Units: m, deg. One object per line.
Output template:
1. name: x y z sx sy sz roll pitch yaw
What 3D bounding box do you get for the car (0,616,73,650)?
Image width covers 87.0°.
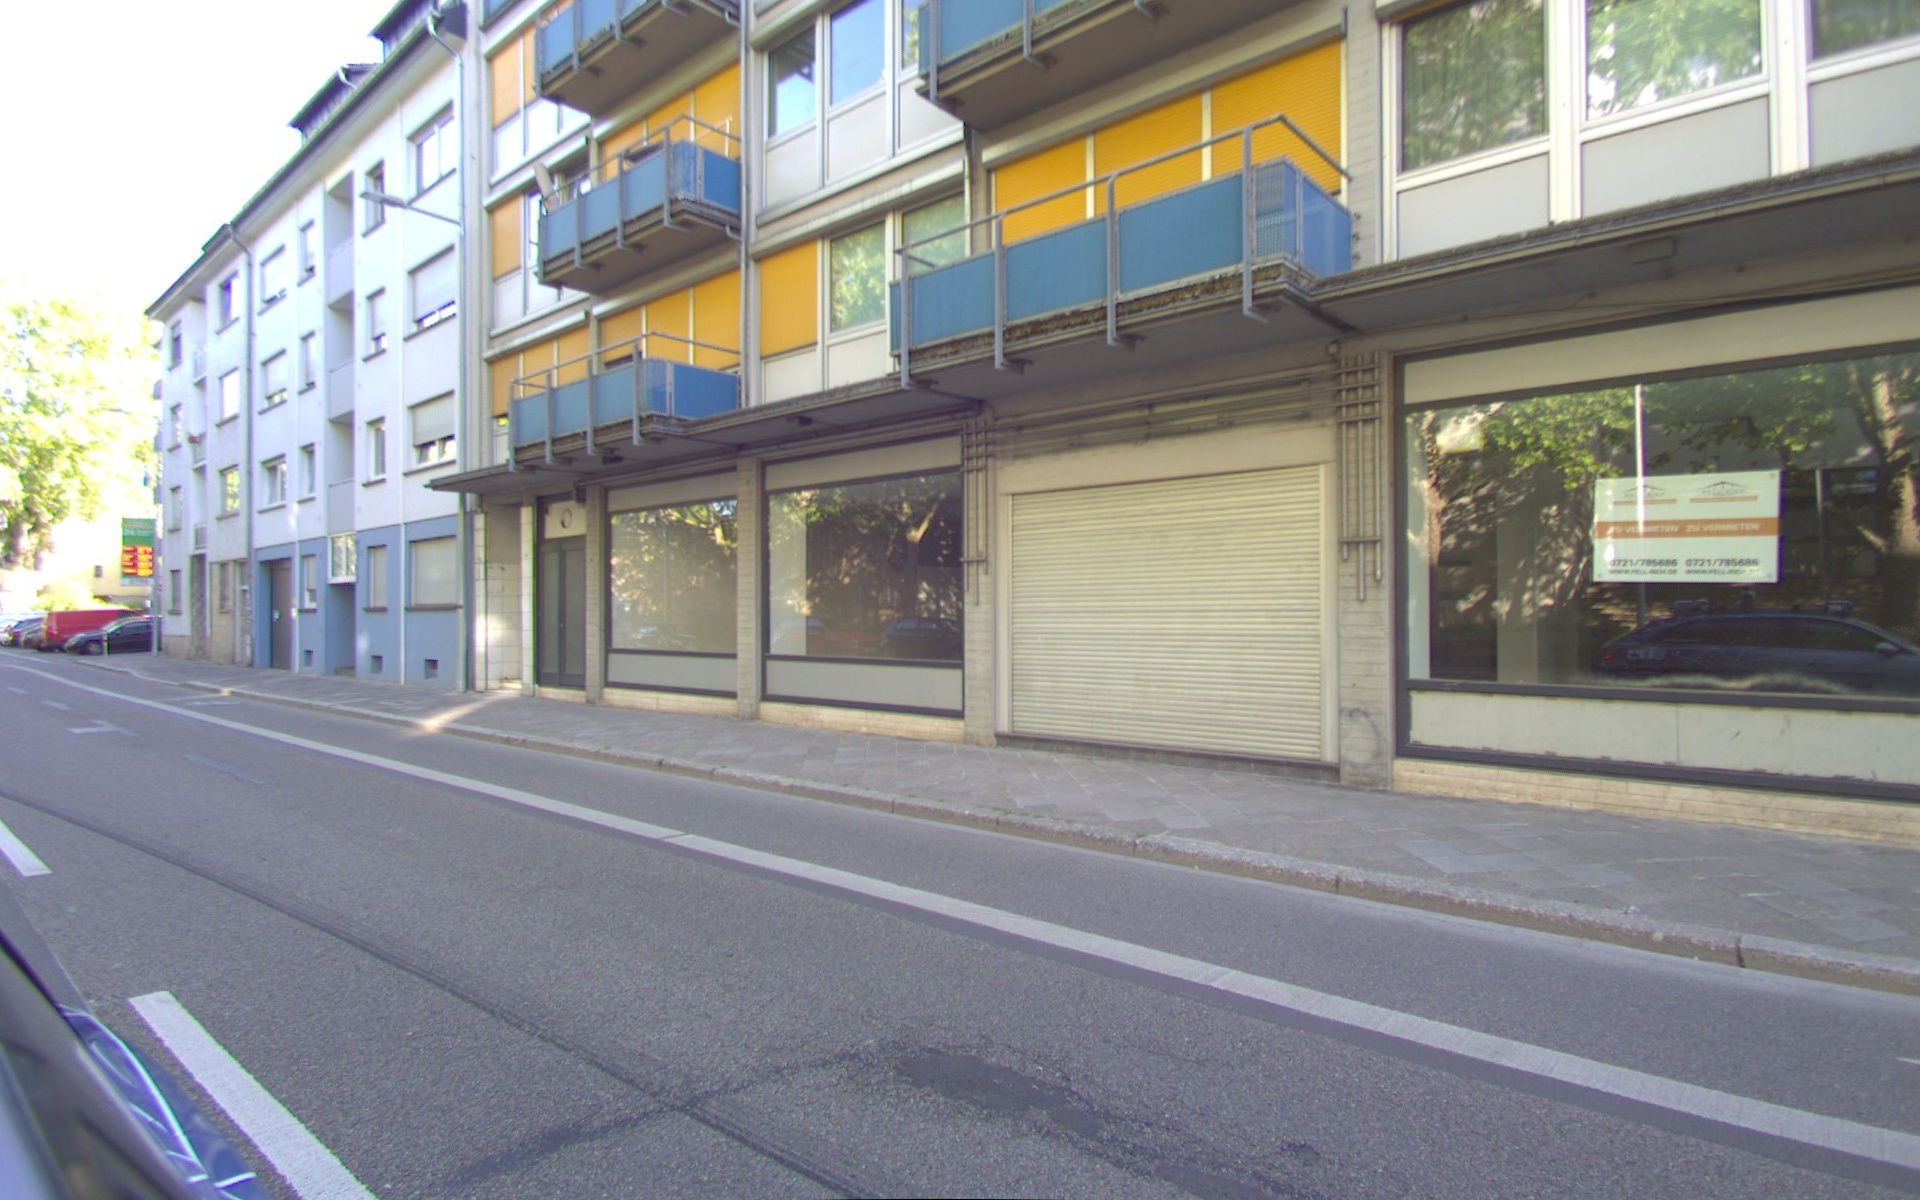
1. car: -59.338 2.098 64.398 2.000 2.052 4.180 -1 0 43

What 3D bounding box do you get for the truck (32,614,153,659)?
1. truck: -40.715 1.652 47.569 1.999 1.939 4.040 -1 0 40

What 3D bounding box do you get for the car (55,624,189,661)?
1. car: -36.490 1.797 44.156 1.657 1.417 4.269 -1 0 40

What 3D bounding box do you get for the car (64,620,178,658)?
1. car: -38.040 1.734 45.938 1.657 1.583 3.762 -1 0 41

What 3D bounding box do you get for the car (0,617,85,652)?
1. car: -56.055 2.069 61.468 2.000 1.971 4.180 -1 0 43
